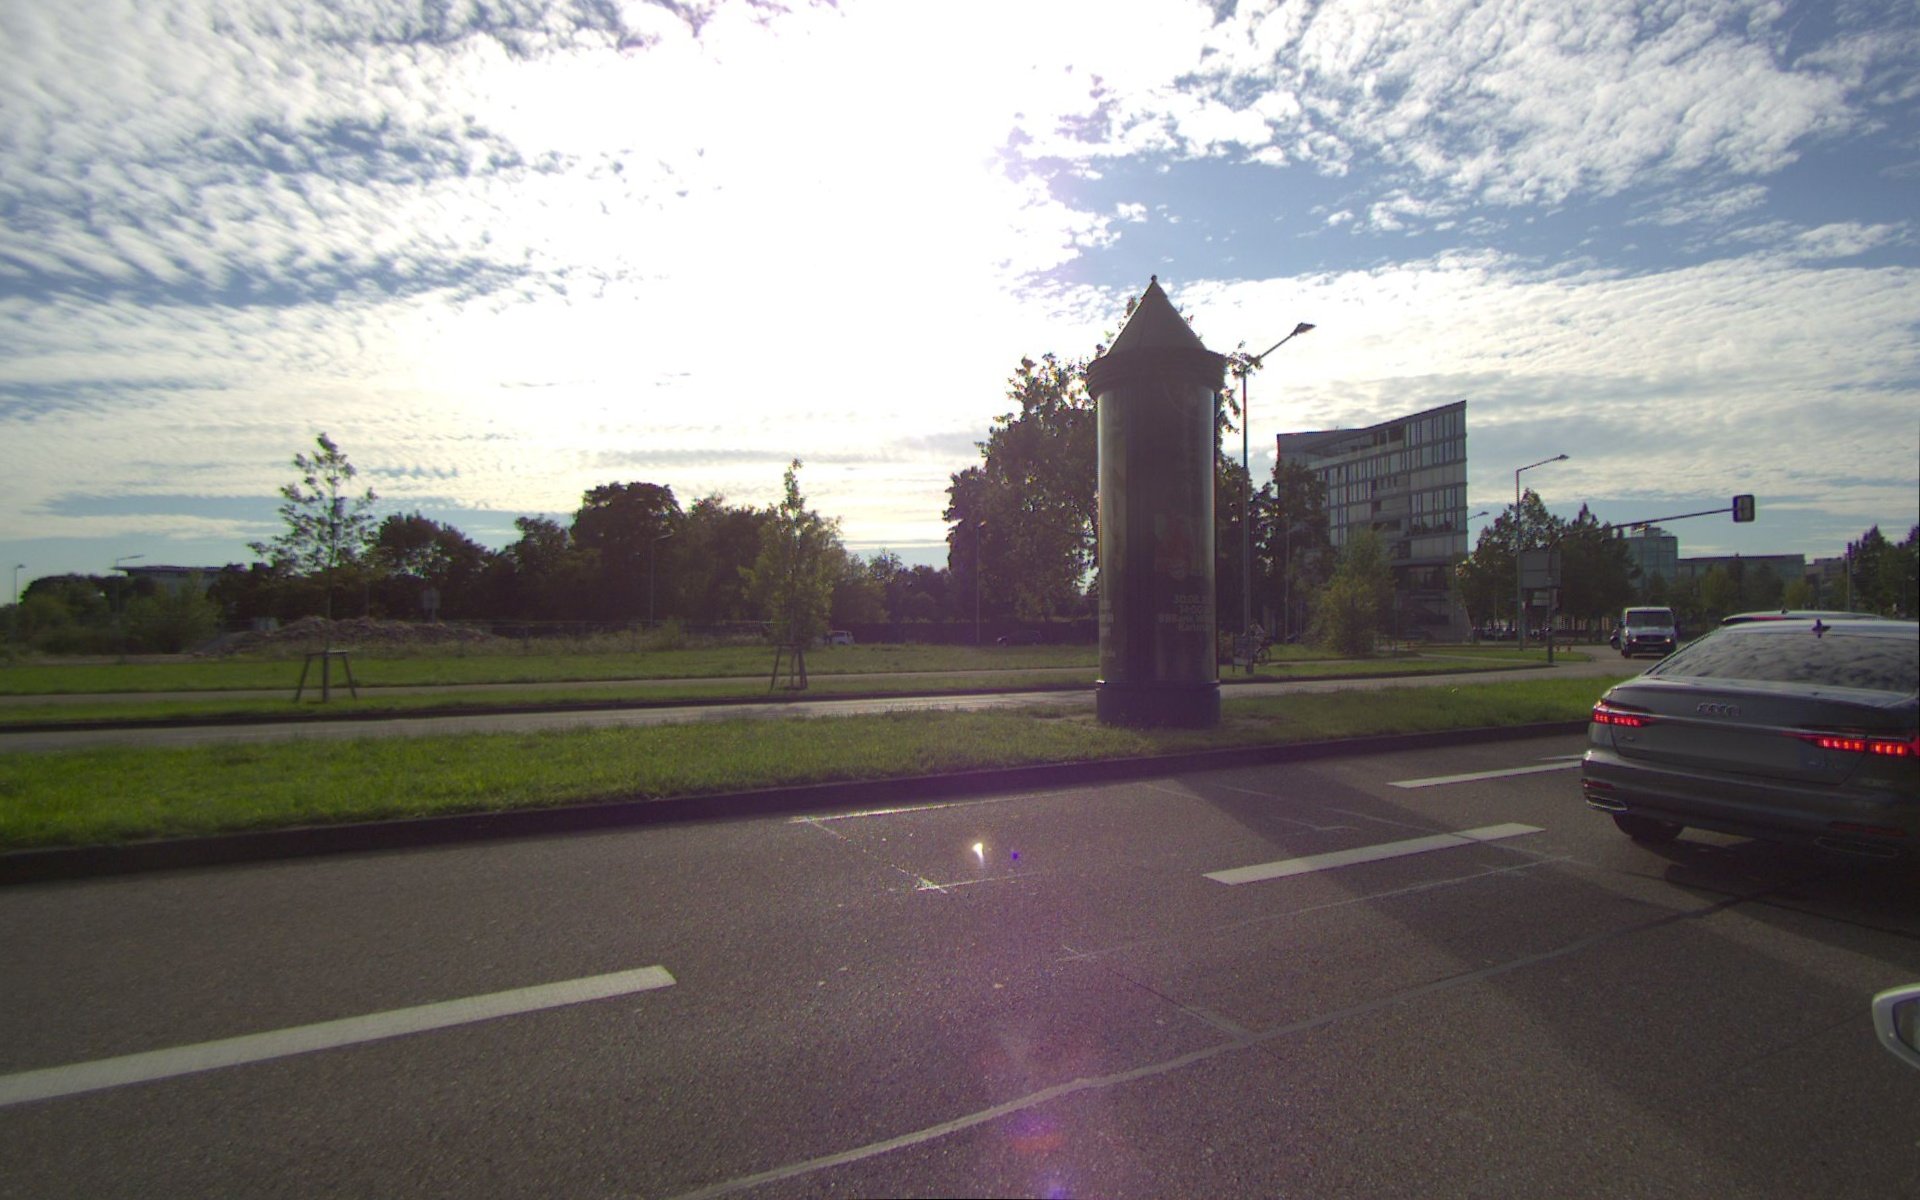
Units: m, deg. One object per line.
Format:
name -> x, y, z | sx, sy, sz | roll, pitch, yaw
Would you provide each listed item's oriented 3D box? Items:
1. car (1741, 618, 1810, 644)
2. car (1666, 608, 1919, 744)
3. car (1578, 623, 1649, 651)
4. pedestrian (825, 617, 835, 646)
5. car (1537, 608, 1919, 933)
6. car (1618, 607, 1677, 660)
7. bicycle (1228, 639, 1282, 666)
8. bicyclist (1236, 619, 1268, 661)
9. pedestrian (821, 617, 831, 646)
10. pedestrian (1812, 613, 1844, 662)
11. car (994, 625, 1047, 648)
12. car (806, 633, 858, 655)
car -> 65.587, 2.511, 80.826 | 4.154, 2.040, 1.827 | 1, -2, -3
car -> 11.433, 0.914, 13.477 | 3.971, 1.579, 1.721 | 1, -1, -30
car -> 38.594, 2.236, 59.362 | 1.562, 1.594, 3.162 | 2, -4, -40
pedestrian -> -9.495, 2.294, 73.280 | 0.723, 2.040, 0.739 | 0, -1, -6
car -> 6.003, 0.838, 6.581 | 4.559, 1.502, 1.880 | 1, -1, -31
car -> 31.938, 1.587, 46.570 | 1.968, 2.264, 5.903 | -3, -3, 36
bicycle -> 11.195, 1.986, 38.101 | 1.889, 0.994, 0.890 | 0, -2, -31
bicyclist -> 11.063, 1.511, 38.056 | 0.978, 1.546, 0.702 | 1, -2, -30
pedestrian -> -9.664, 2.279, 72.467 | 0.675, 2.040, 0.641 | 0, -1, -5
pedestrian -> 28.945, 1.245, 33.511 | 0.609, 1.589, 0.651 | 1, -2, -34
car -> 4.903, 2.953, 81.194 | 3.919, 1.750, 1.850 | -2, -3, 14
car -> -10.808, 3.734, 84.972 | 3.919, 1.825, 2.002 | -1, -2, 10
